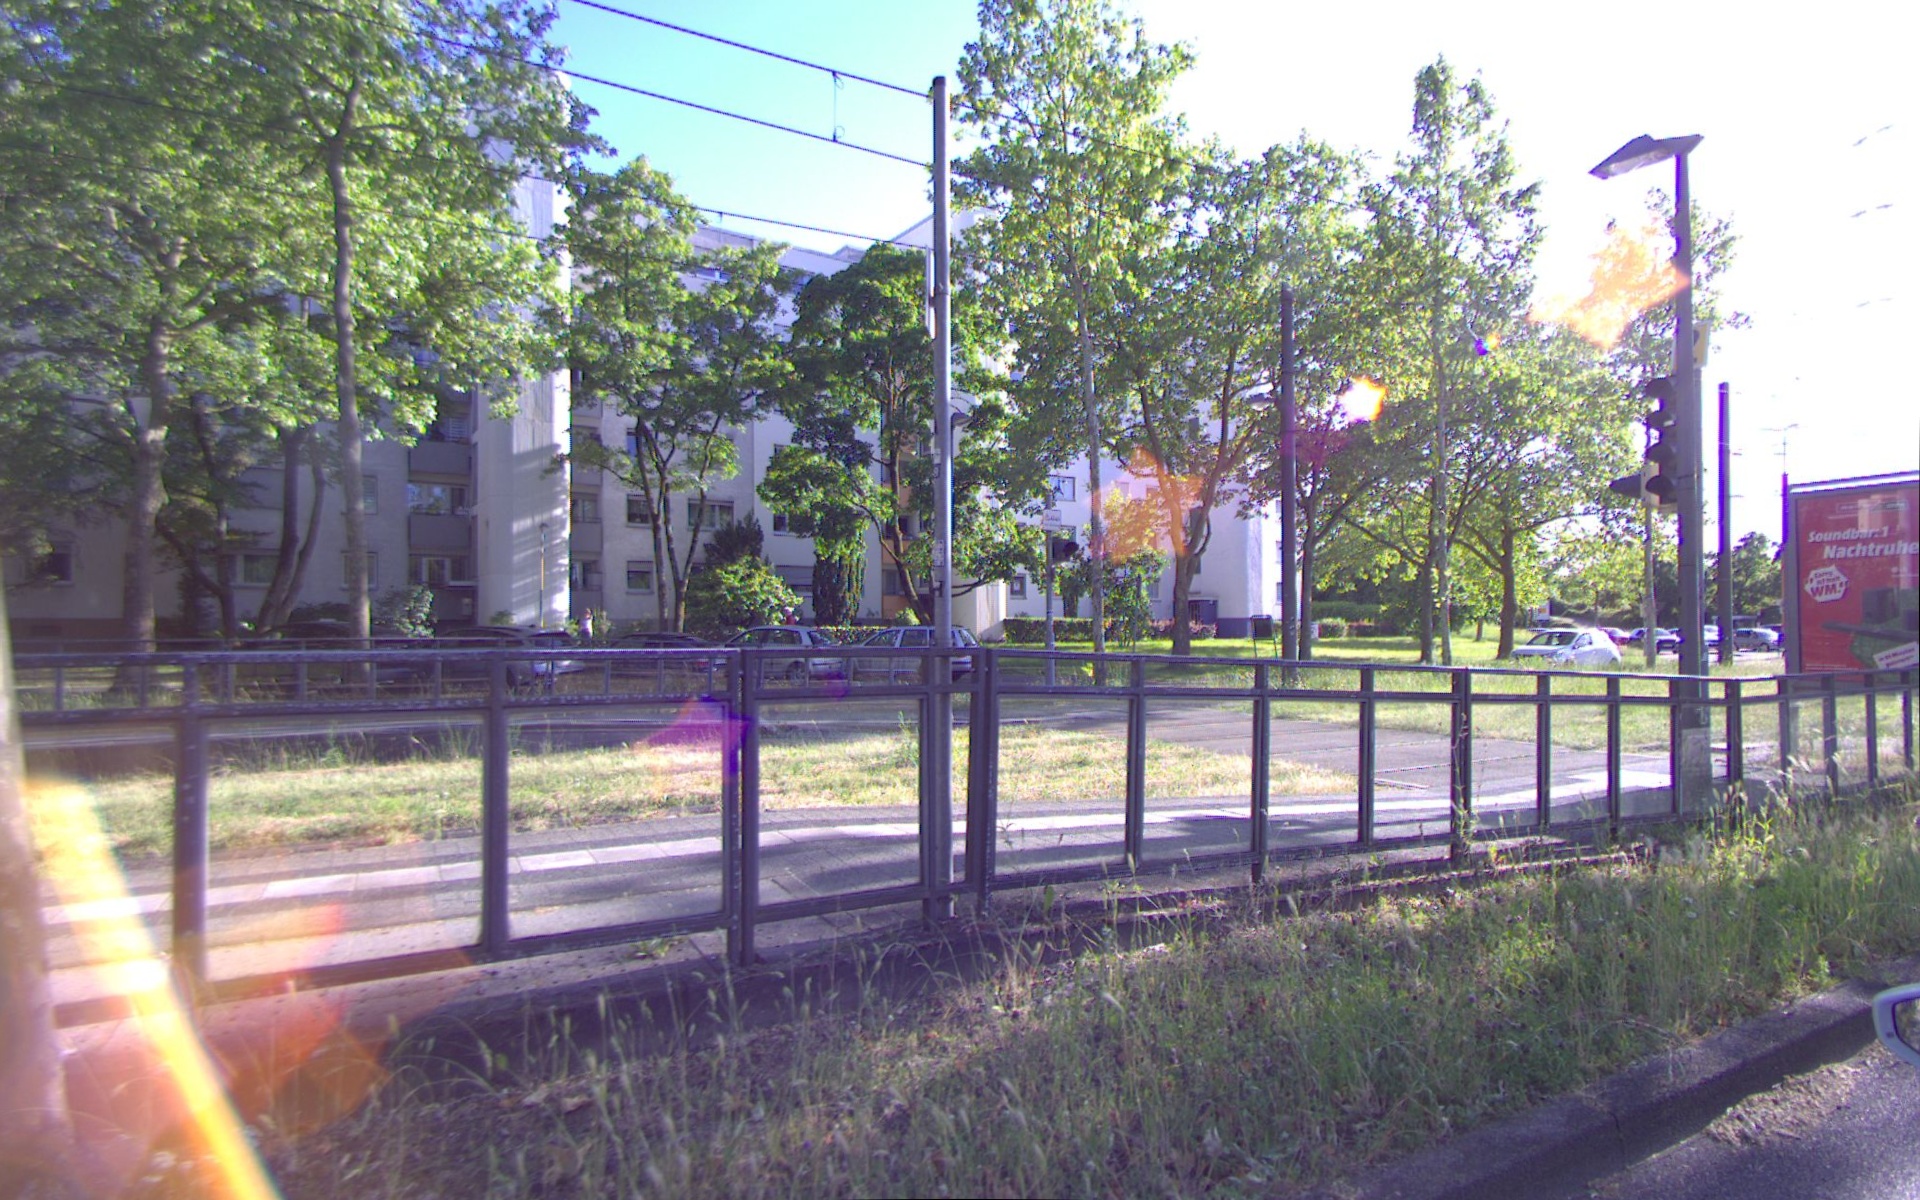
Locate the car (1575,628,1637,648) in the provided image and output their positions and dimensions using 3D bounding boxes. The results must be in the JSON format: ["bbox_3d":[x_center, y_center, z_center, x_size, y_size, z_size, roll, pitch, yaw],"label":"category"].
[{"bbox_3d":[51.068,2.999,79.470,1.783,1.455,4.041,-2,-2,-11],"label":"car"}]

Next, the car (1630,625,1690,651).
[{"bbox_3d":[45.725,2.447,65.741,1.862,1.564,4.502,1,-1,16],"label":"car"}]

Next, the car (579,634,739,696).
[{"bbox_3d":[-6.937,1.459,23.194,3.318,1.270,1.465,1,-1,21],"label":"car"}]

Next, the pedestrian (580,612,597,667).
[{"bbox_3d":[-12.564,1.330,33.979,0.445,1.815,0.315,1,-1,-36],"label":"pedestrian"}]

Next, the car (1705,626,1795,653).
[{"bbox_3d":[51.936,2.579,66.153,1.866,1.632,4.492,-2,-2,-11],"label":"car"}]

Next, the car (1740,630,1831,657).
[{"bbox_3d":[55.033,2.910,67.071,1.866,1.632,4.492,-2,-2,-11],"label":"car"}]

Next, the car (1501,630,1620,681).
[{"bbox_3d":[18.693,1.686,31.238,3.675,1.469,1.624,1,-1,-30],"label":"car"}]

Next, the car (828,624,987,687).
[{"bbox_3d":[-1.377,1.432,26.540,3.843,1.496,1.632,1,-1,18],"label":"car"}]

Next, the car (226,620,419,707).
[{"bbox_3d":[-12.479,1.202,19.710,3.075,1.568,1.466,0,0,13],"label":"car"}]

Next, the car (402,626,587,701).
[{"bbox_3d":[-9.884,1.310,21.401,3.316,1.445,1.541,0,-1,14],"label":"car"}]

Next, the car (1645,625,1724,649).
[{"bbox_3d":[51.577,2.646,71.610,1.866,1.632,4.492,-2,-2,-11],"label":"car"}]

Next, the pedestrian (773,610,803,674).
[{"bbox_3d":[-4.953,1.202,28.902,0.709,1.816,0.473,1,0,-31],"label":"pedestrian"}]

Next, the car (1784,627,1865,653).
[{"bbox_3d":[60.539,2.793,70.421,1.866,1.642,3.993,-2,-2,-11],"label":"car"}]

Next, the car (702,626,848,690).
[{"bbox_3d":[-4.596,1.408,25.058,3.221,1.450,1.571,1,0,18],"label":"car"}]
